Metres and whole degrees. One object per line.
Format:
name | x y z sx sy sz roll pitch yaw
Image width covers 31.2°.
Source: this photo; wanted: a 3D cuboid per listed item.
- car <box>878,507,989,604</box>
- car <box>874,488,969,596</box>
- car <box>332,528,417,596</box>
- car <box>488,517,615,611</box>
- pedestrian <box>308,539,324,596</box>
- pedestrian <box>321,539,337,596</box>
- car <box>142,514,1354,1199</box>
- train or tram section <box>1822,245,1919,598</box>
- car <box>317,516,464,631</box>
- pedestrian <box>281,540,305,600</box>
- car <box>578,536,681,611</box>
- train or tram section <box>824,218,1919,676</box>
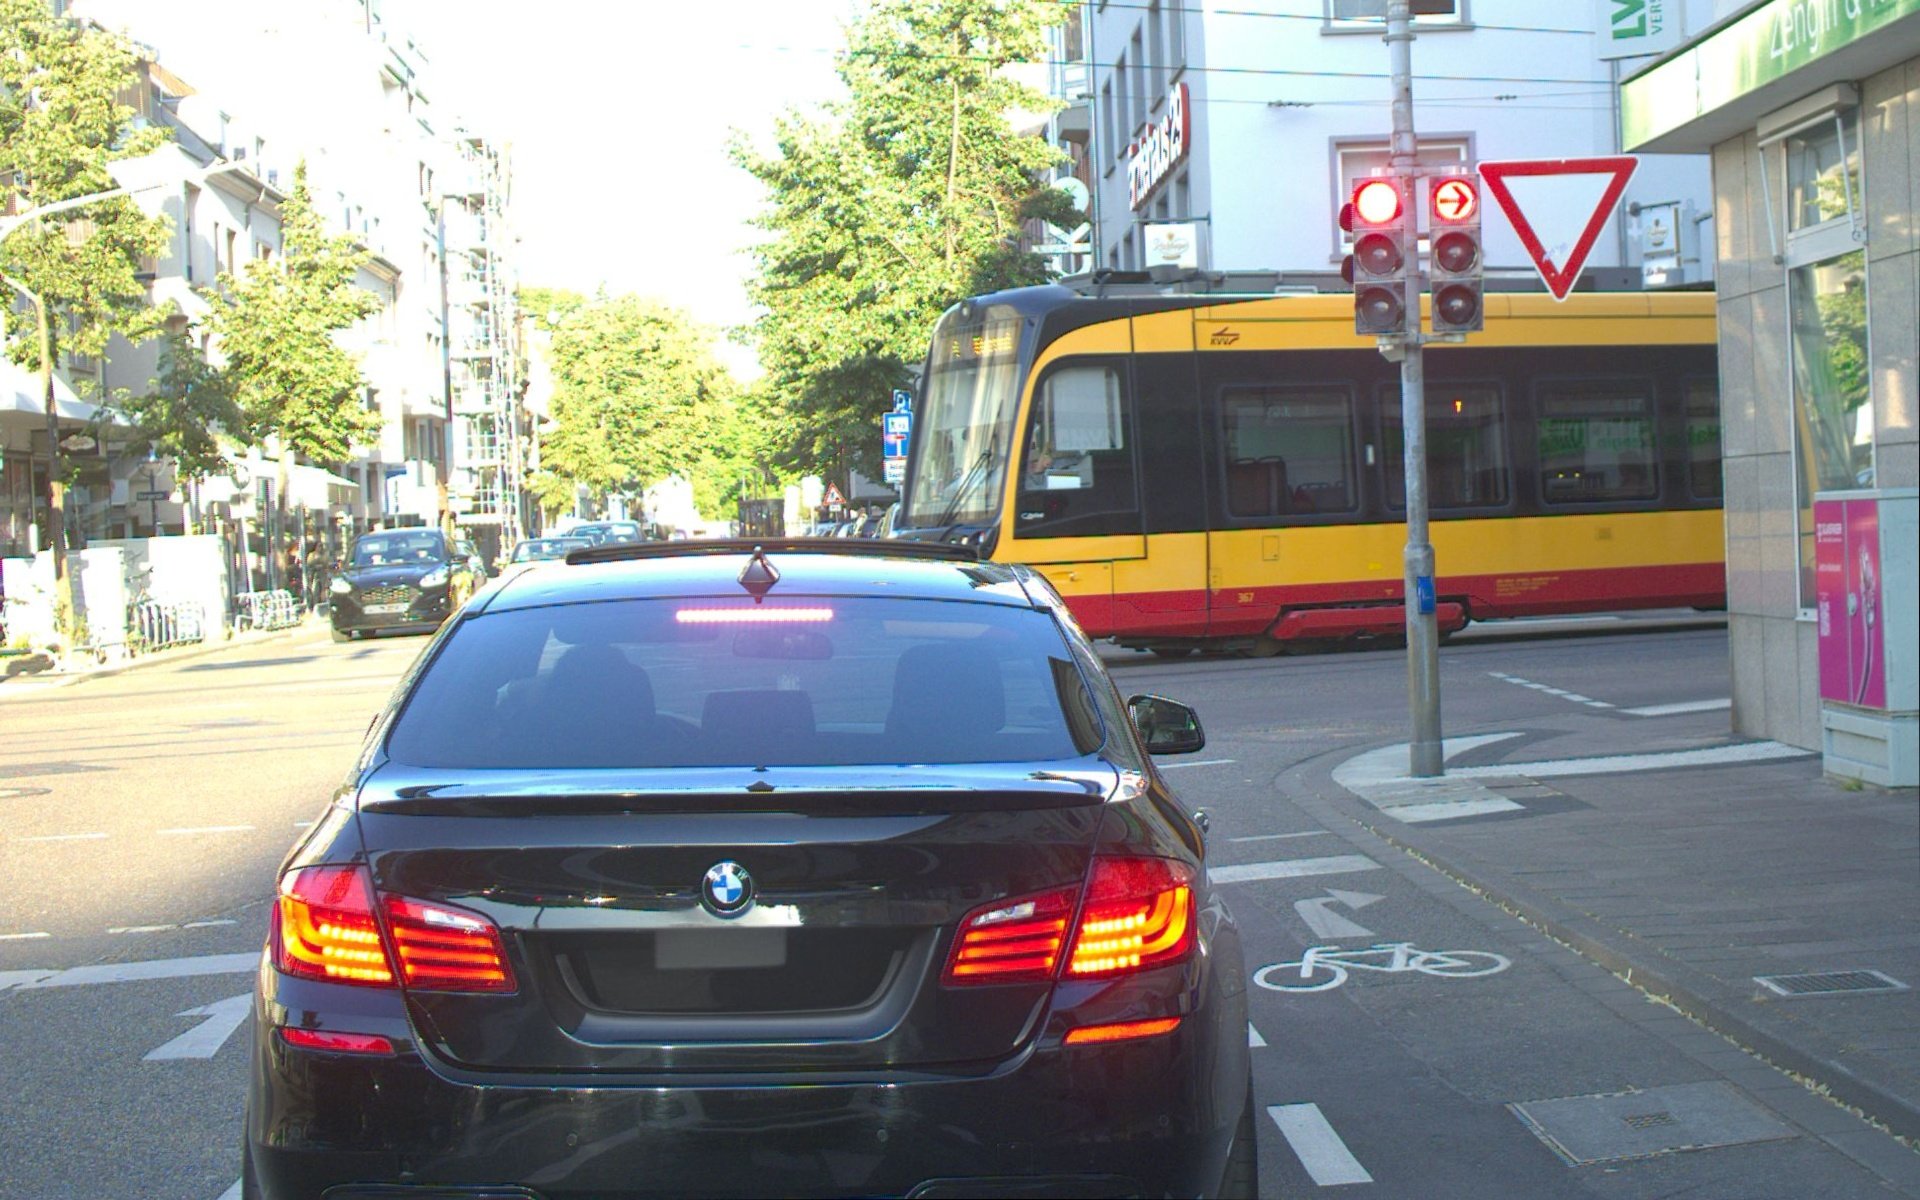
car | -0.453 -0.716 54.593 1.625 1.466 3.395 -1 1 -2
car | -0.703 -1.020 60.989 1.421 1.848 3.053 -1 1 -5
car | -13.428 -0.896 79.015 1.733 1.456 4.001 -2 1 -7
car | -6.876 -0.625 57.668 1.993 1.437 4.001 -2 1 -7
pedestrian | -15.398 -0.776 82.231 0.306 1.354 0.285 -3 1 -11
pedestrian | -15.112 -0.784 82.353 0.306 1.354 0.285 -3 1 -11
car | -0.444 0.583 7.648 1.903 1.535 4.450 0 1 -3
train or tram section | 14.932 -2.186 39.450 10.424 3.798 3.082 -3 2 -30
car | -8.607 -0.433 52.228 1.993 1.612 4.001 -2 1 -7
pedestrian | -15.927 -0.713 82.060 0.444 1.411 0.525 -2 1 -4
car | -6.221 -0.516 64.430 1.733 1.288 4.001 -2 1 -7
train or tram section | 5.008 -1.608 33.566 12.616 3.852 3.081 -3 2 -32
